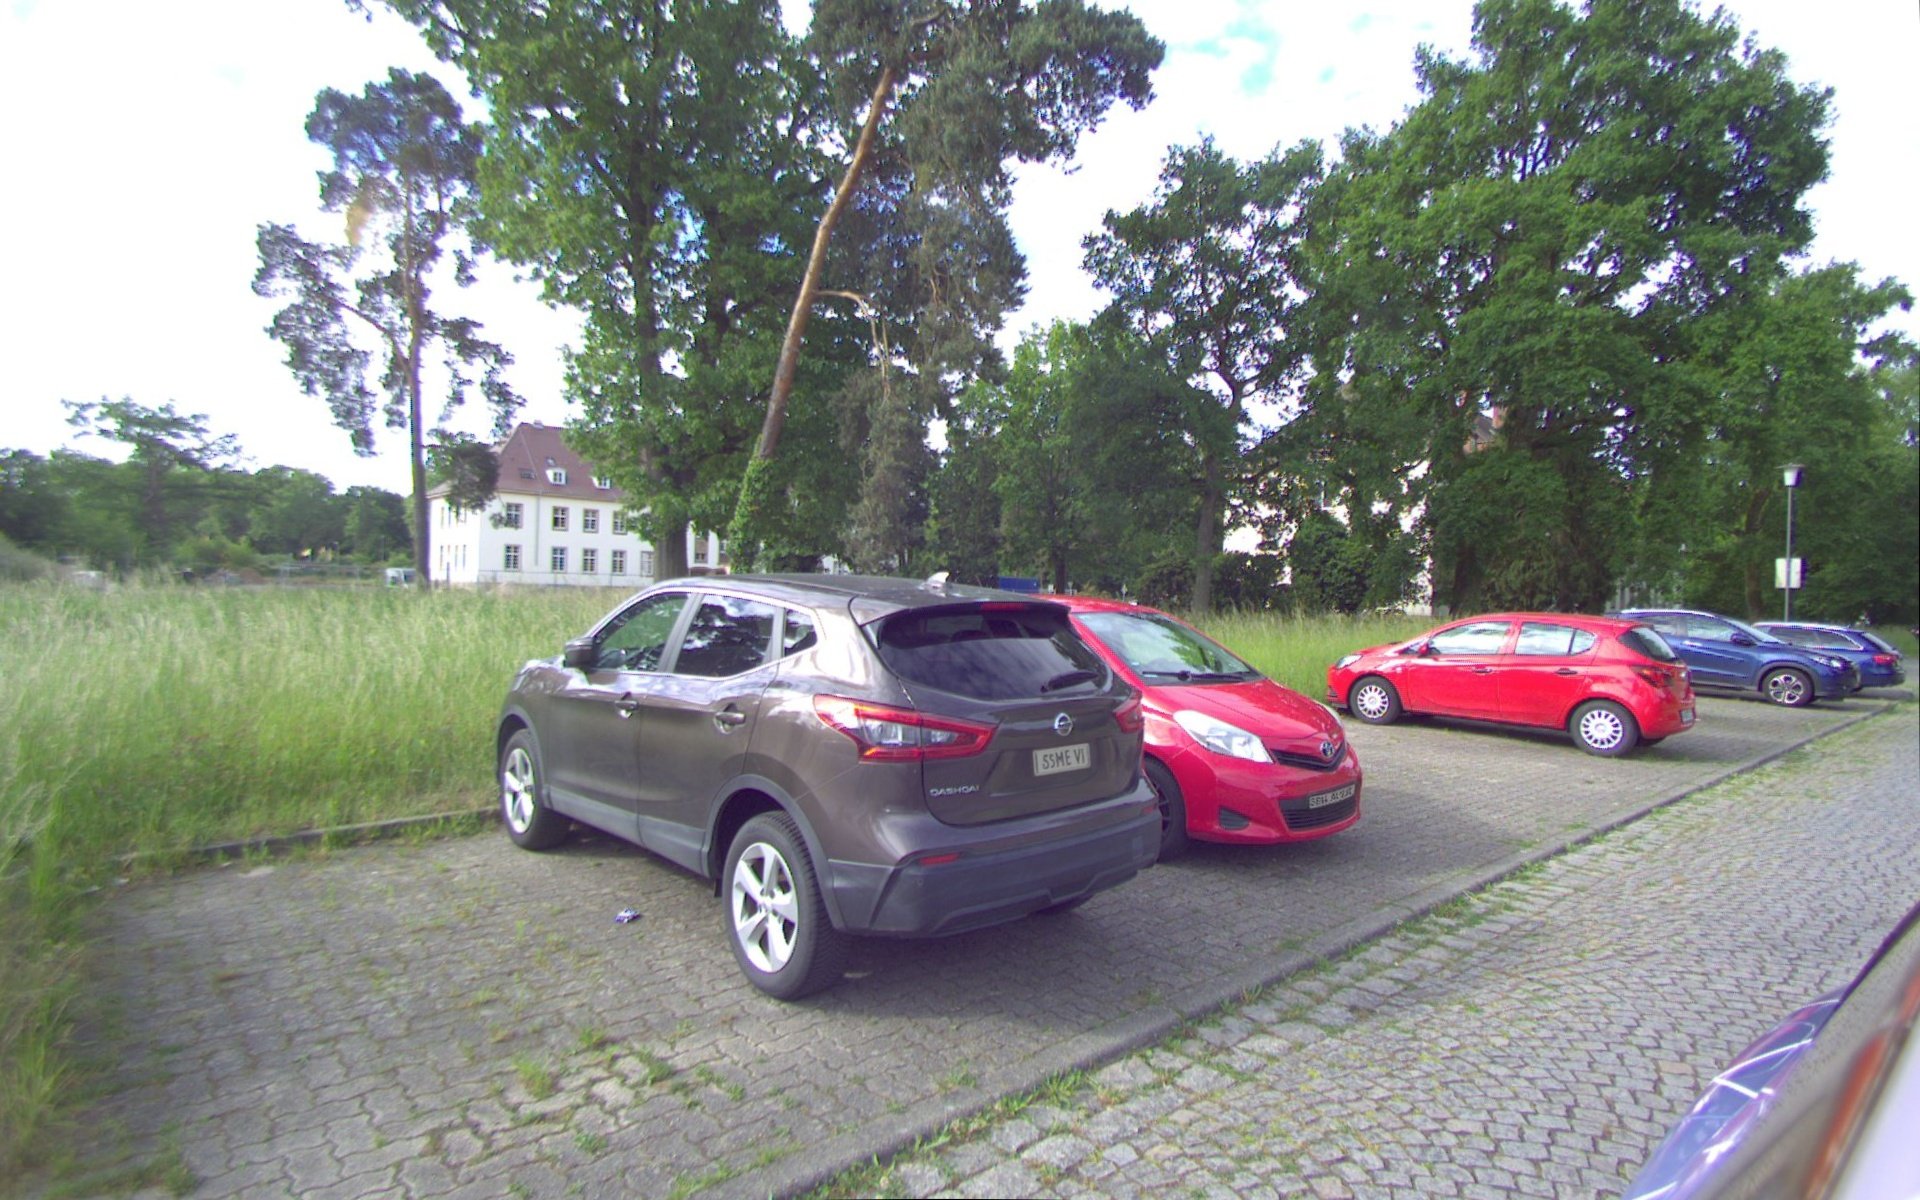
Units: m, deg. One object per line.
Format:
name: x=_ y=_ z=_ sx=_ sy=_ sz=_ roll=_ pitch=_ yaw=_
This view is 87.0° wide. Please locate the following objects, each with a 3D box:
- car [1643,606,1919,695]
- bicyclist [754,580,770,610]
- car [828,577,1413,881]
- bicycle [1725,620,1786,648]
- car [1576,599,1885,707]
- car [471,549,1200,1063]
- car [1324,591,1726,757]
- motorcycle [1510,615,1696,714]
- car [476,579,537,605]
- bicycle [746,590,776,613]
car: x=17.740 y=1.017 z=21.917 sx=1.860 sy=1.483 sz=4.518 roll=2 pitch=2 yaw=-38
bicyclist: x=-13.491 y=-0.358 z=68.838 sx=0.833 sy=2.039 sz=0.658 roll=1 pitch=-1 yaw=-41
car: x=0.888 y=0.648 z=7.310 sx=1.708 sy=1.537 sz=3.994 roll=1 pitch=0 yaw=-41
bicycle: x=35.027 y=1.490 z=44.582 sx=1.999 sy=1.101 sz=0.474 roll=2 pitch=3 yaw=27
car: x=14.194 y=0.884 z=18.841 sx=1.862 sy=1.593 sz=4.271 roll=2 pitch=1 yaw=-41
car: x=-0.951 y=0.613 z=5.208 sx=1.732 sy=1.600 sz=3.955 roll=1 pitch=0 yaw=-43
car: x=6.604 y=0.742 z=12.139 sx=1.708 sy=1.524 sz=3.845 roll=2 pitch=1 yaw=-42
motorcycle: x=9.604 y=0.923 z=15.192 sx=2.265 sy=1.291 sz=0.596 roll=3 pitch=1 yaw=44
car: x=-37.623 y=-0.649 z=83.829 sx=5.811 sy=2.039 sz=2.450 roll=0 pitch=0 yaw=41
bicycle: x=-13.514 y=0.106 z=68.836 sx=1.900 sy=1.498 sz=0.654 roll=0 pitch=0 yaw=-41
